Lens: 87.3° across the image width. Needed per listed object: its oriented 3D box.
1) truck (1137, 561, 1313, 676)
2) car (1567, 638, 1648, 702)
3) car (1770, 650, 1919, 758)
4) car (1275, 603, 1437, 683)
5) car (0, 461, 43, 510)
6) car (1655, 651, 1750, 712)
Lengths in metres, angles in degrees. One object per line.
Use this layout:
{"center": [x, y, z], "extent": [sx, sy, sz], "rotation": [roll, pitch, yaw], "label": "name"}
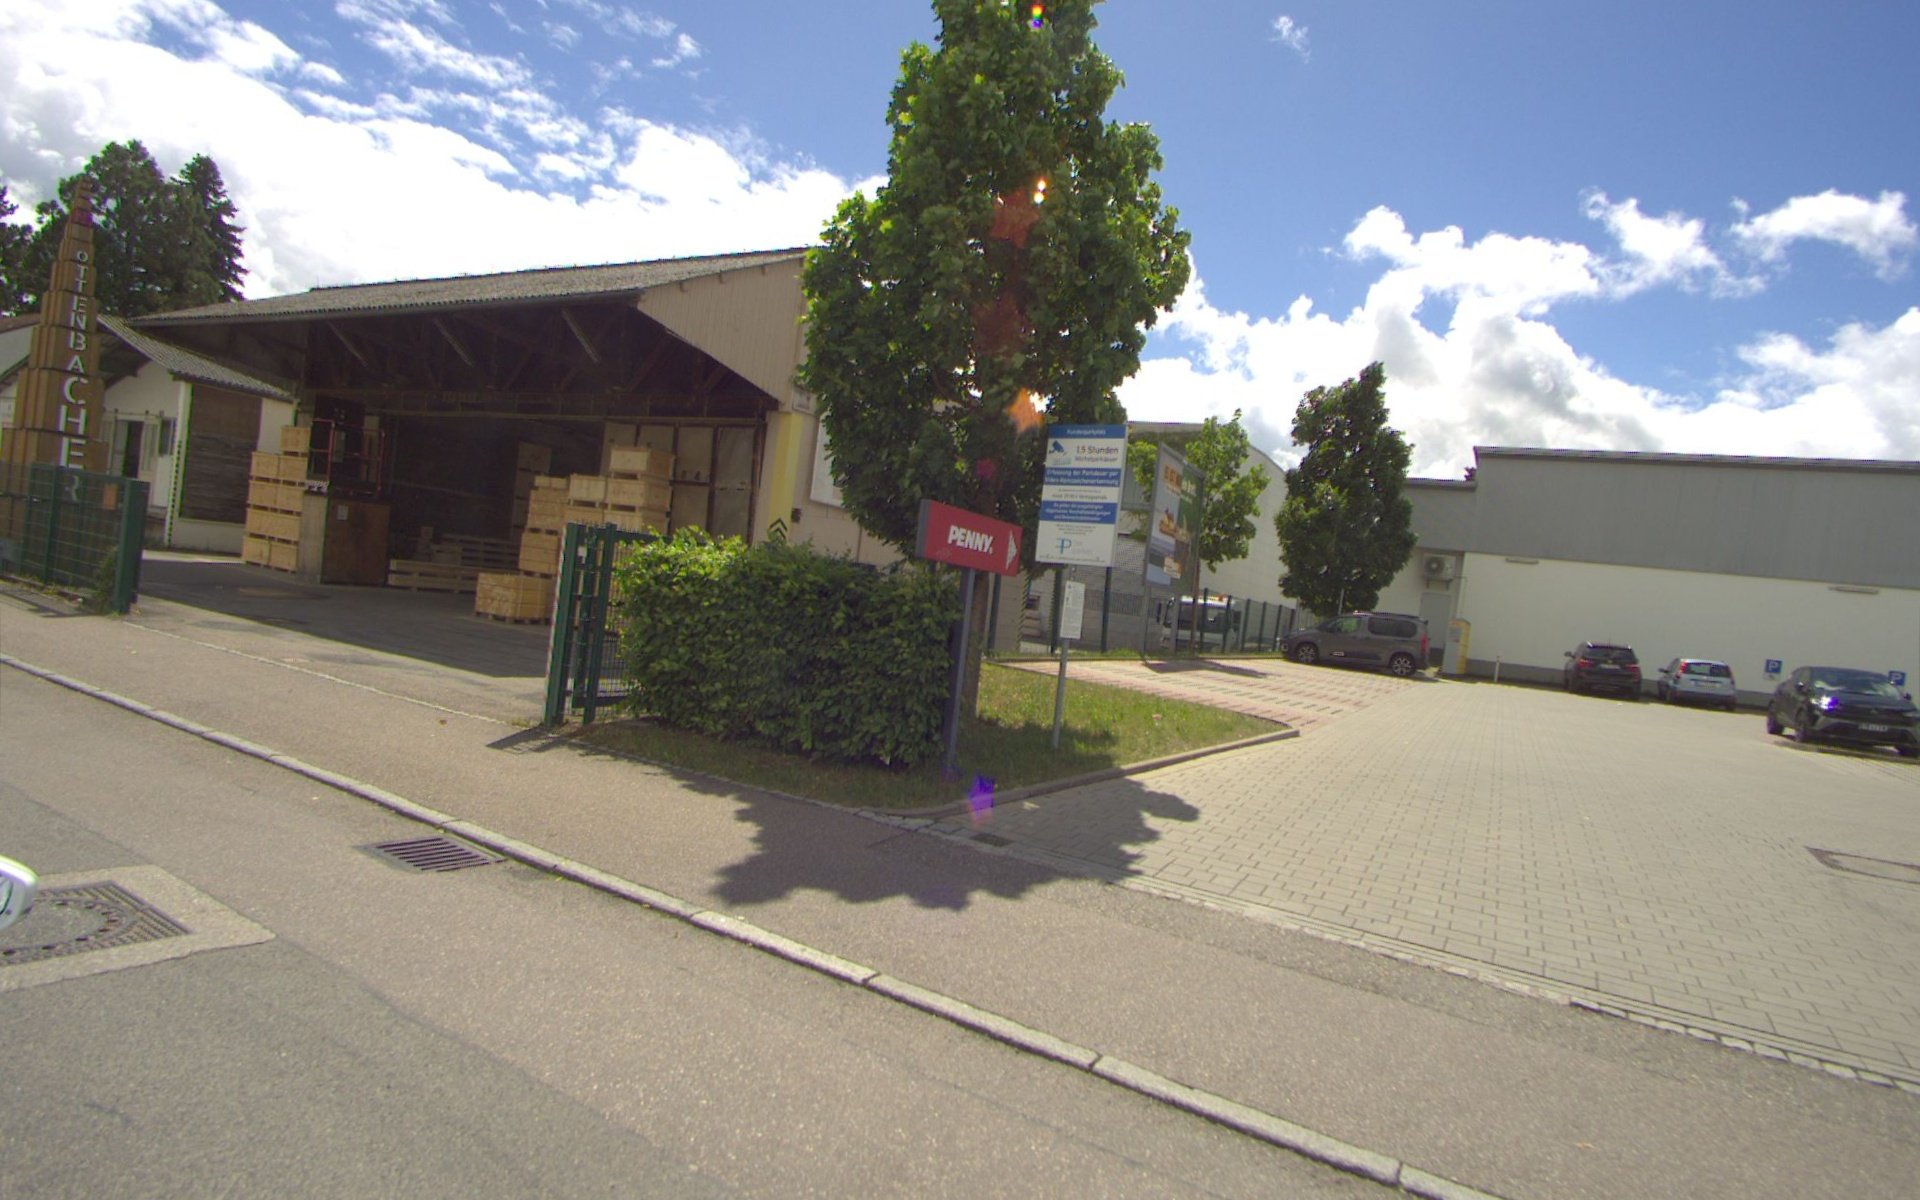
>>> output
{"center": [10.543, 0.940, 38.596], "extent": [2.930, 2.896, 12.008], "rotation": [8, -3, 32], "label": "truck"}
{"center": [20.402, 2.219, 31.842], "extent": [1.789, 1.643, 3.992], "rotation": [8, 0, 31], "label": "car"}
{"center": [17.821, 2.116, 20.076], "extent": [1.968, 1.702, 3.995], "rotation": [8, -2, 33], "label": "car"}
{"center": [12.355, 1.309, 31.412], "extent": [4.317, 1.854, 1.996], "rotation": [8, 2, 29], "label": "car"}
{"center": [-43.185, -5.231, 43.376], "extent": [1.968, 1.954, 5.017], "rotation": [8, 1, 34], "label": "car"}
{"center": [22.774, 2.498, 30.991], "extent": [1.789, 1.526, 3.992], "rotation": [8, 0, 31], "label": "car"}
